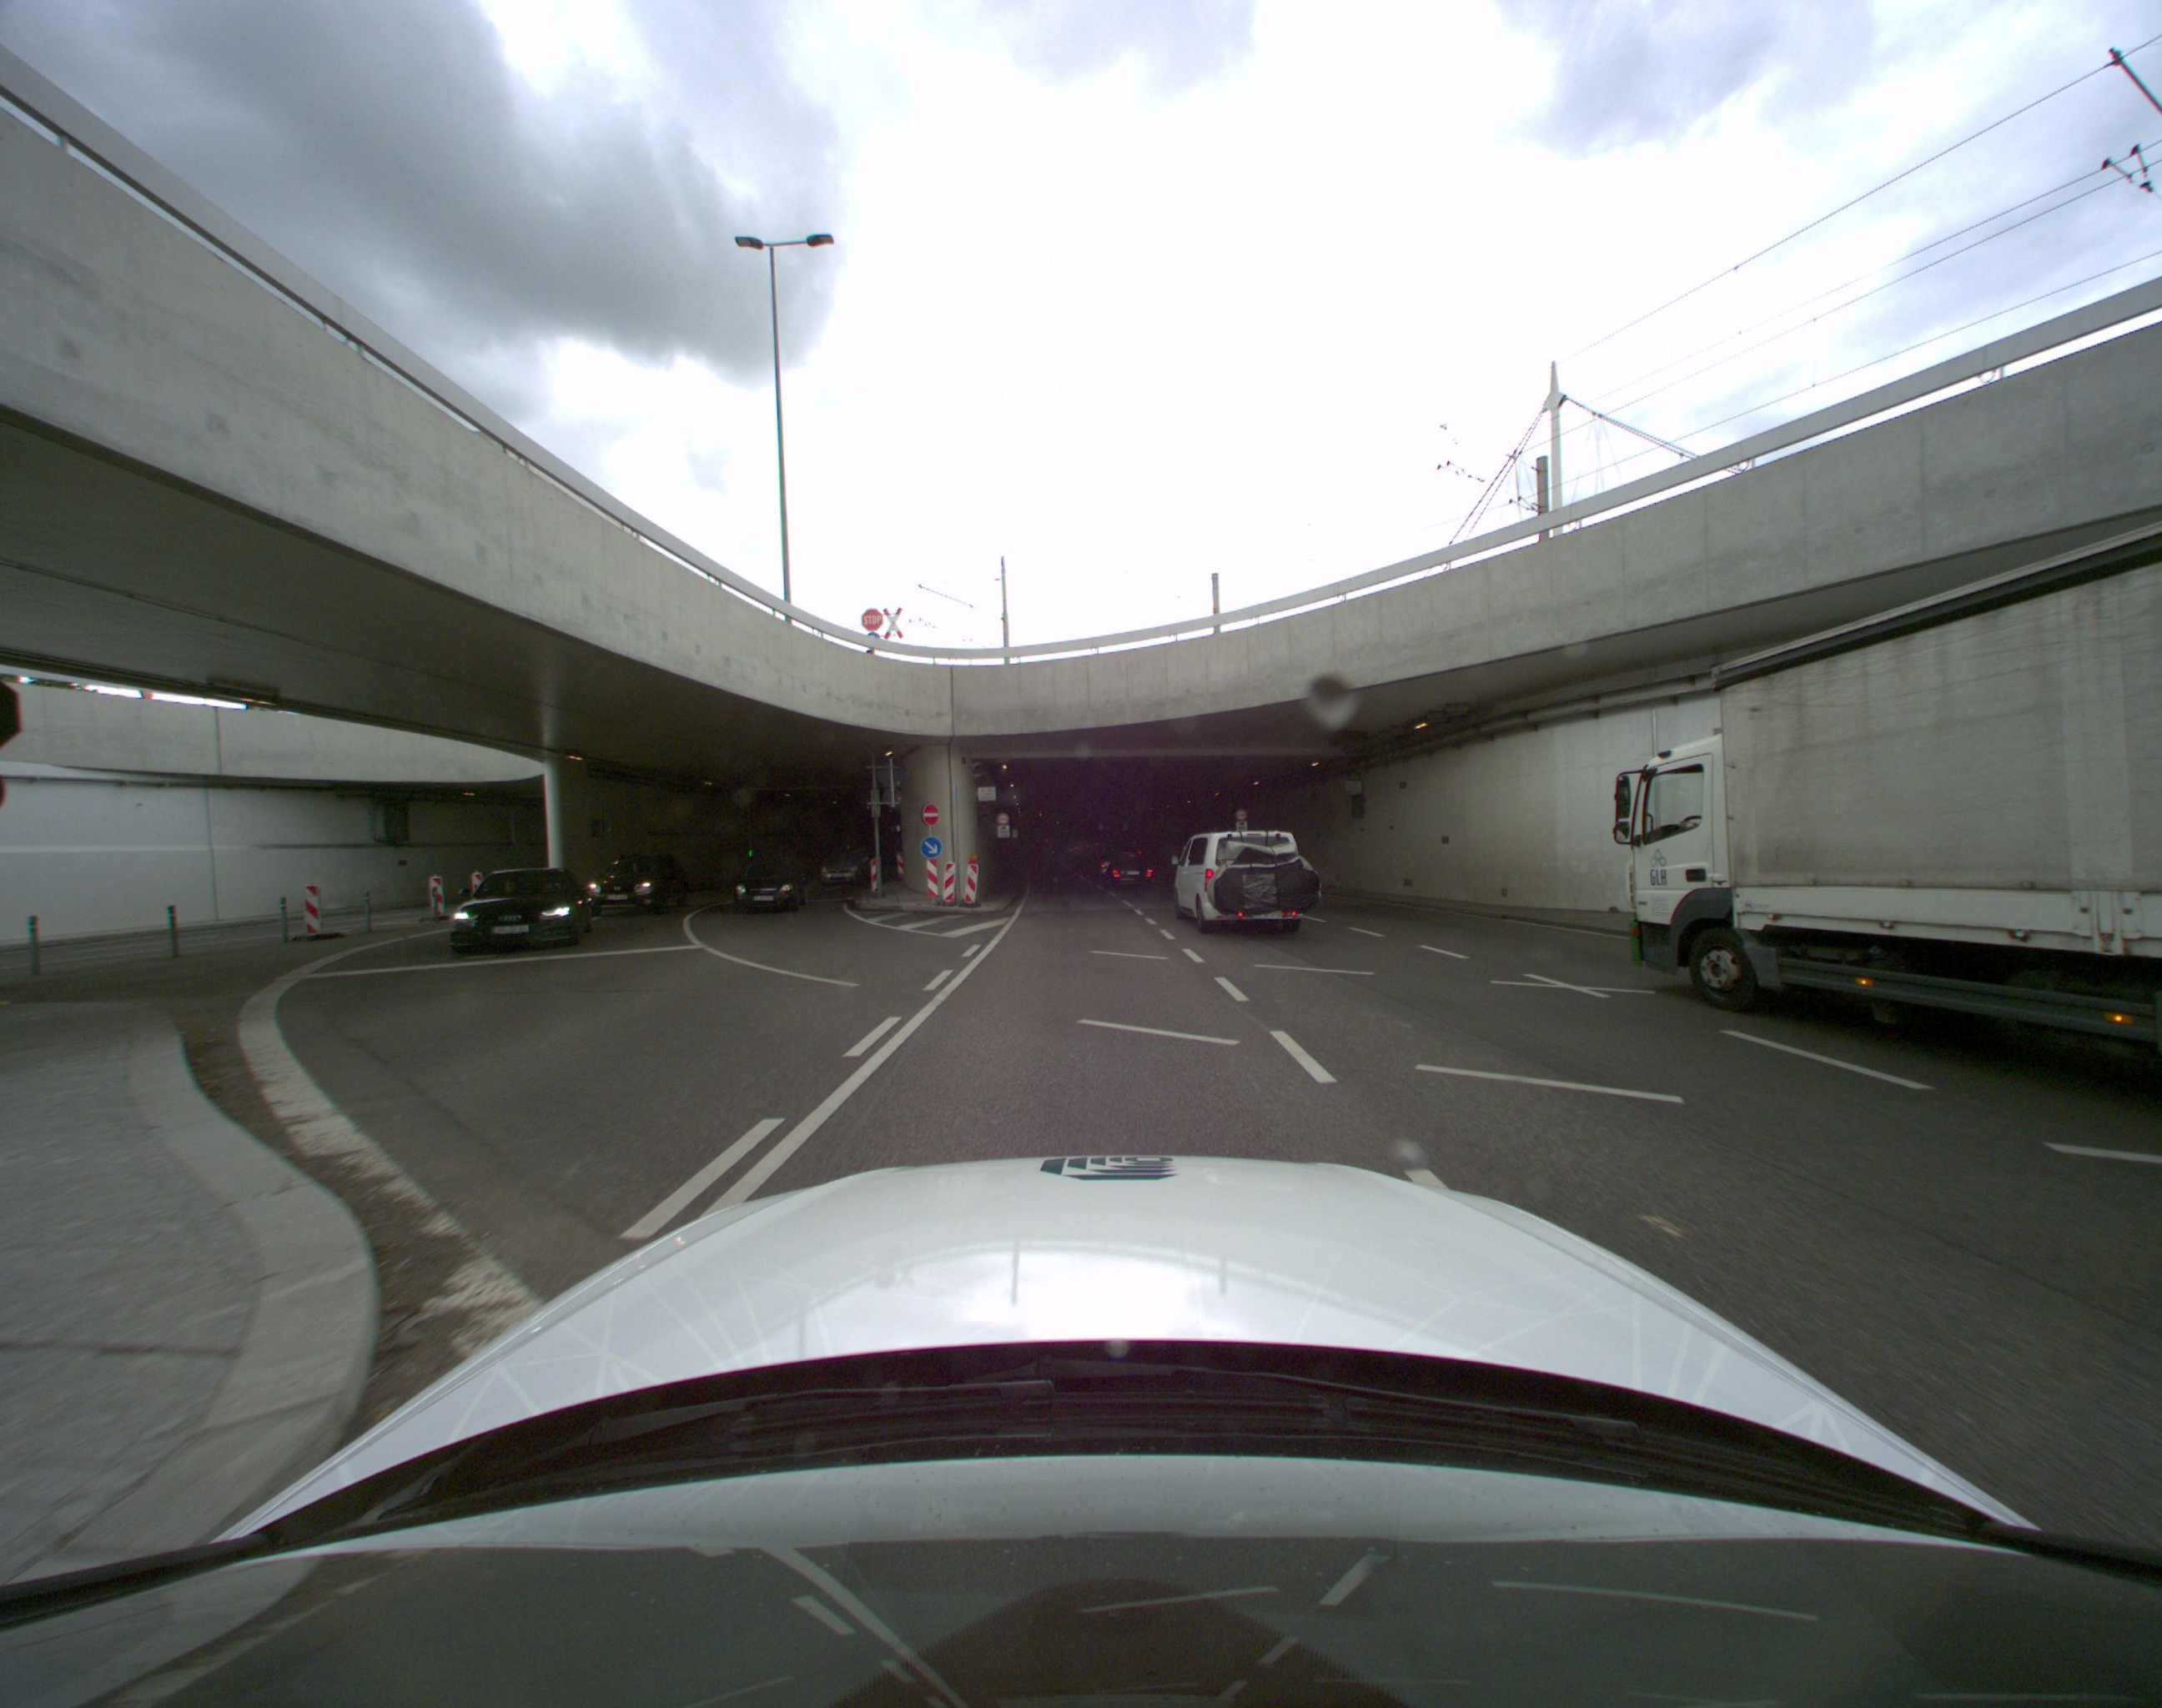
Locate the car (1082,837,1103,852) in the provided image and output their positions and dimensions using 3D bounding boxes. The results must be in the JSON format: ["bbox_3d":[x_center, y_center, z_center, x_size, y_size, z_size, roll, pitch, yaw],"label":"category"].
[{"bbox_3d":[1.317,-1.154,98.344,1.987,1.676,4.499,-2,0,-6],"label":"car"}]

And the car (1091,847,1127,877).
[{"bbox_3d":[1.621,0.428,47.944,1.814,1.580,3.998,2,1,-2],"label":"car"}]

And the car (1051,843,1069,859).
[{"bbox_3d":[-2.043,-0.270,79.060,1.656,1.488,3.563,-2,0,-3],"label":"car"}]

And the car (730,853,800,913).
[{"bbox_3d":[-8.958,0.742,23.271,1.670,1.441,4.086,-2,2,-20],"label":"car"}]

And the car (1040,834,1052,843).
[{"bbox_3d":[-5.150,-2.248,119.109,1.507,1.247,3.557,-2,1,-8],"label":"car"}]

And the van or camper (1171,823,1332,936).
[{"bbox_3d":[3.095,0.414,16.081,1.987,1.845,5.506,0,0,0],"label":"van or camper"}]

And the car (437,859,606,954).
[{"bbox_3d":[-10.605,0.872,15.829,1.860,1.442,4.804,-2,1,-25],"label":"car"}]

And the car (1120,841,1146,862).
[{"bbox_3d":[4.311,-0.218,67.881,1.656,1.633,3.564,2,1,-3],"label":"car"}]

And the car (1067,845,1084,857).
[{"bbox_3d":[-0.641,-0.330,92.781,1.660,1.247,3.563,-2,0,-3],"label":"car"}]

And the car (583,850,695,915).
[{"bbox_3d":[-12.562,0.730,23.454,1.796,1.599,4.307,0,2,-14],"label":"car"}]

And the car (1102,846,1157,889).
[{"bbox_3d":[1.989,0.534,34.765,1.815,1.684,3.994,0,1,-5],"label":"car"}]

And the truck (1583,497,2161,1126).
[{"bbox_3d":[6.810,-0.269,5.237,2.640,3.184,7.428,-2,1,1],"label":"truck"}]

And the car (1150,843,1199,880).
[{"bbox_3d":[4.797,0.346,42.130,1.815,1.749,3.996,2,1,-4],"label":"car"}]

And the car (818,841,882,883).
[{"bbox_3d":[-10.456,0.306,37.226,1.804,1.604,4.782,-2,2,-4],"label":"car"}]
